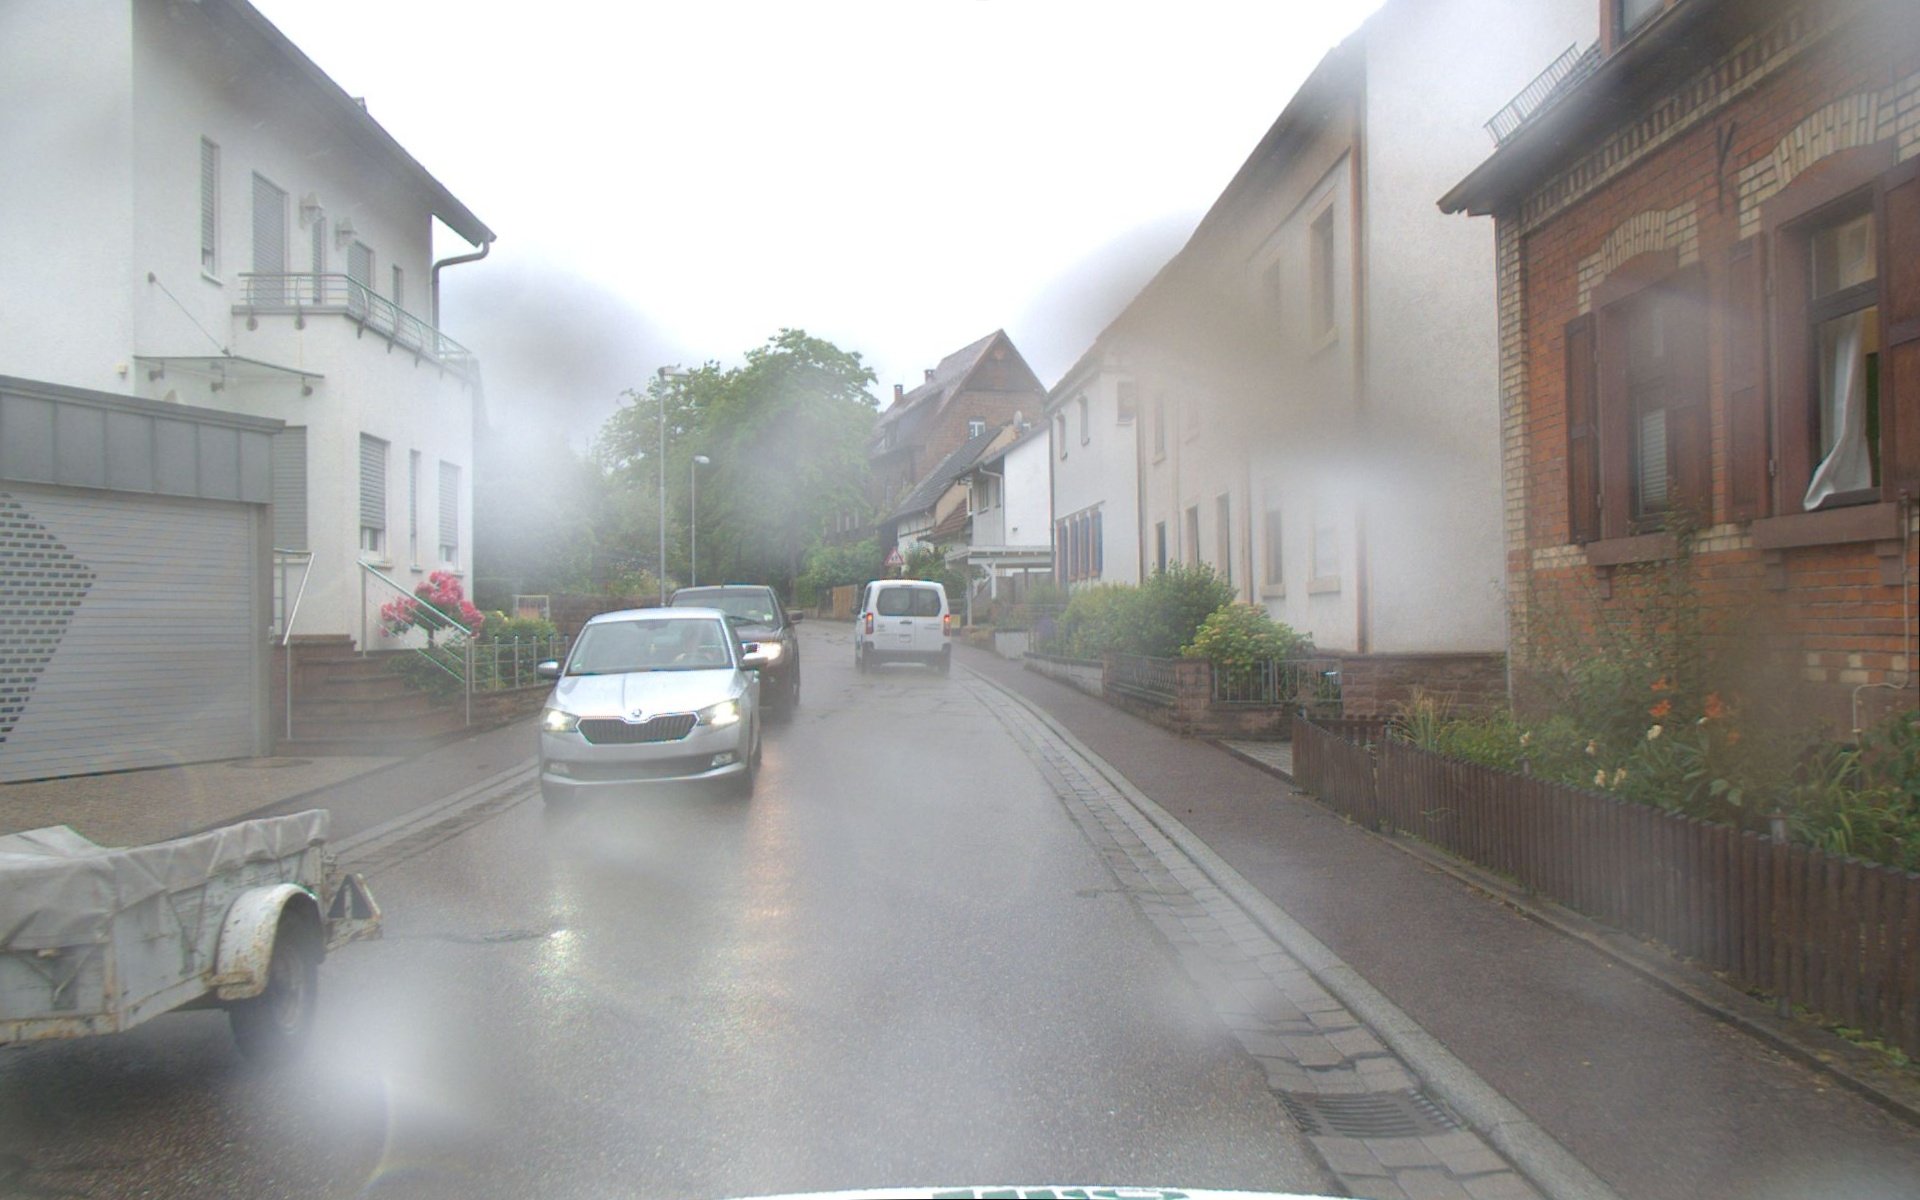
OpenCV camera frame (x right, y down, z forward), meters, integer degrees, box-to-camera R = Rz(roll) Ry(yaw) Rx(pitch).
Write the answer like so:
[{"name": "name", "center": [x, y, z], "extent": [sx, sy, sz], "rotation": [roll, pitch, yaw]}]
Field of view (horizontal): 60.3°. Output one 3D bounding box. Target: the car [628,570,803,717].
[{"name": "car", "center": [-3.125, 0.503, 22.015], "extent": [1.954, 1.707, 4.778], "rotation": [-1, 0, -5]}]

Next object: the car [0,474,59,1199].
[{"name": "car", "center": [-2.801, 0.572, 1.306], "extent": [1.713, 1.665, 4.418], "rotation": [-3, -1, 0]}]

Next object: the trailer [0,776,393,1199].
[{"name": "trailer", "center": [-2.887, 1.094, 5.010], "extent": [1.453, 0.843, 2.675], "rotation": [-2, -2, -2]}]

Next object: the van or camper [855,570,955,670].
[{"name": "van or camper", "center": [-1.095, 0.371, 33.802], "extent": [1.904, 1.883, 3.999], "rotation": [-1, 0, -1]}]

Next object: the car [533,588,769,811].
[{"name": "car", "center": [-2.490, 0.714, 14.114], "extent": [1.656, 1.592, 3.929], "rotation": [-1, 1, -6]}]
